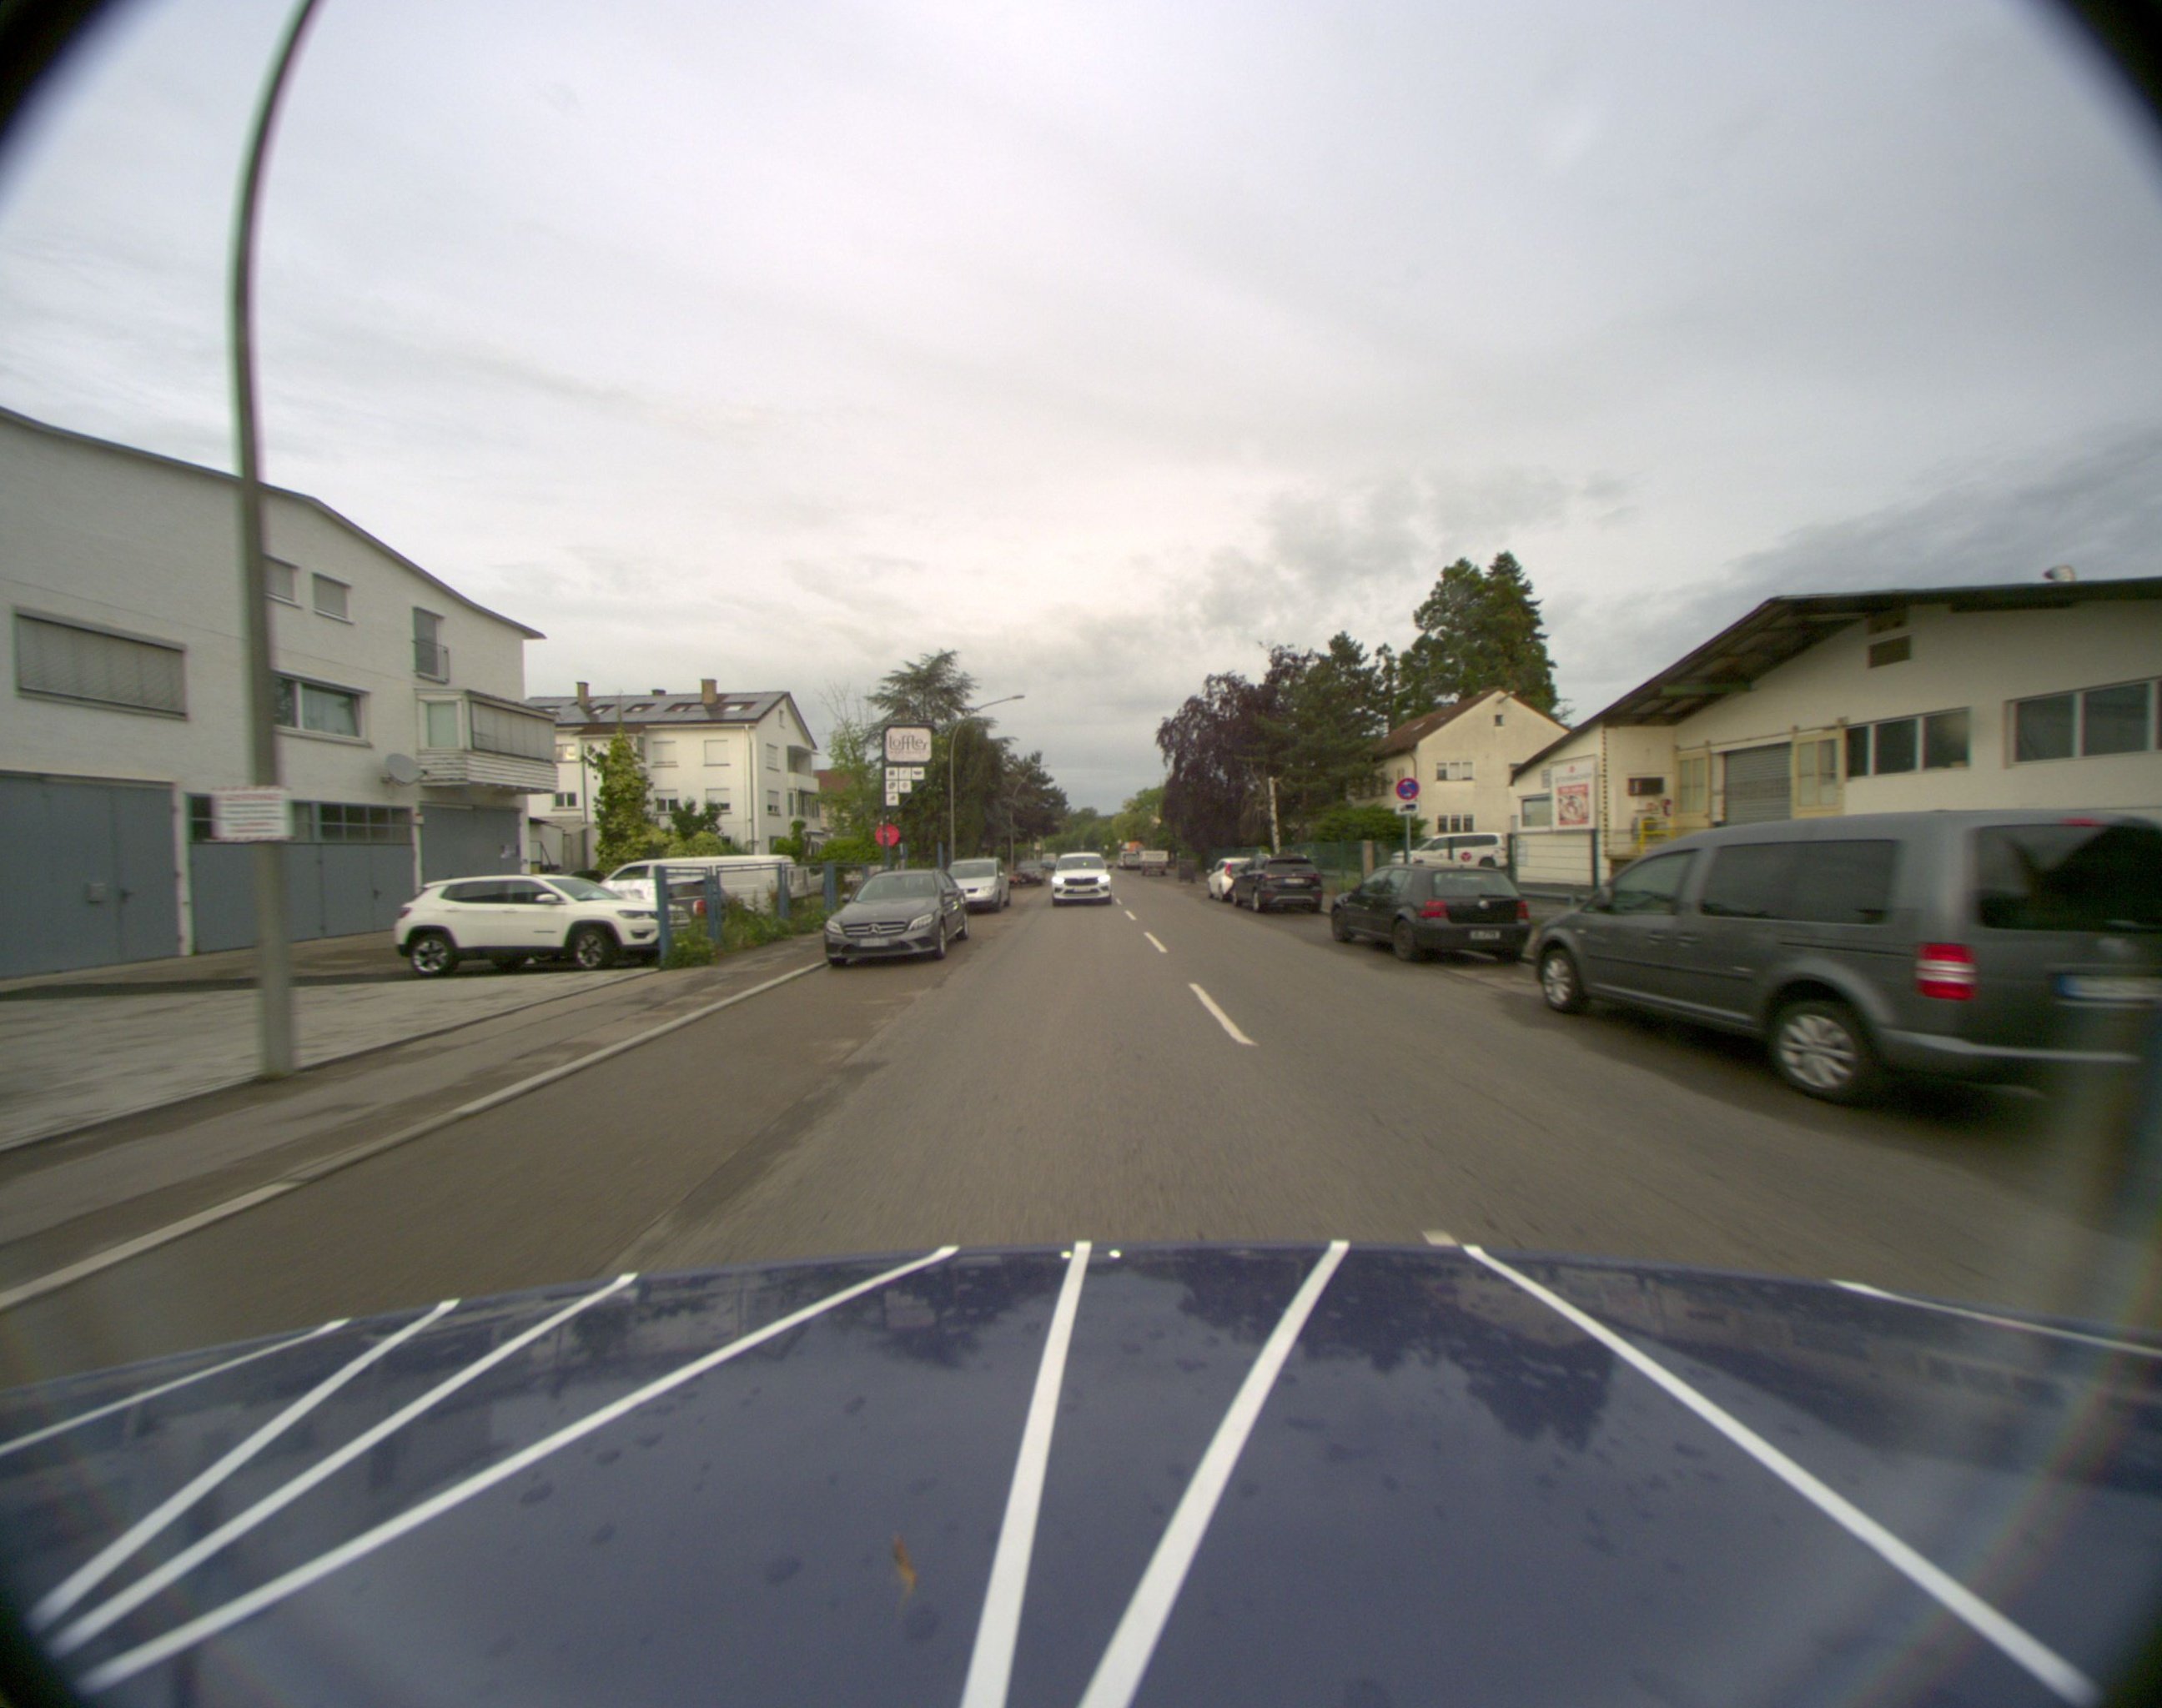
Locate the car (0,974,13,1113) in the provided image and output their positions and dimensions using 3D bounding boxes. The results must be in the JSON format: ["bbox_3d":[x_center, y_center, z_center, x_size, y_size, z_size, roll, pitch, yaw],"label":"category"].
[{"bbox_3d":[-10.234,1.312,4.810,4.254,1.527,1.811,-3,1,0],"label":"car"}]

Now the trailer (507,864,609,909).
[{"bbox_3d":[-24.425,1.457,35.717,1.999,1.802,4.401,-3,1,-6],"label":"trailer"}]

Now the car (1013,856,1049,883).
[{"bbox_3d":[-3.084,0.962,47.860,1.744,1.424,4.648,-4,1,2],"label":"car"}]

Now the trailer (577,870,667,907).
[{"bbox_3d":[-21.588,1.583,35.919,1.644,1.456,4.094,-3,1,0],"label":"trailer"}]

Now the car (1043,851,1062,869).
[{"bbox_3d":[-3.217,0.607,85.758,1.736,1.817,5.552,-4,1,1],"label":"car"}]

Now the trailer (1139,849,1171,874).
[{"bbox_3d":[5.661,0.540,58.478,1.934,1.755,4.547,-2,0,0],"label":"trailer"}]

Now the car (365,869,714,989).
[{"bbox_3d":[-8.959,1.197,12.898,4.457,1.615,1.893,-3,1,-1],"label":"car"}]

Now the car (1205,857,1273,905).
[{"bbox_3d":[5.436,0.887,26.525,1.620,1.500,3.660,0,1,0],"label":"car"}]

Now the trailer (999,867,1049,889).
[{"bbox_3d":[-2.994,1.245,41.425,2.179,0.892,6.635,-3,0,0],"label":"trailer"}]

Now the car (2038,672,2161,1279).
[{"bbox_3d":[5.384,0.515,0.154,2.163,2.413,6.459,1,0,0],"label":"car"}]

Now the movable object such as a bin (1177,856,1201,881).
[{"bbox_3d":[6.118,0.821,43.156,1.103,1.303,1.425,-3,1,0],"label":"movable object such as a bin"}]

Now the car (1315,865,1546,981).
[{"bbox_3d":[5.378,0.963,12.394,1.666,1.440,4.316,0,1,-2],"label":"car"}]

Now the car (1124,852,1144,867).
[{"bbox_3d":[5.489,0.563,79.124,1.821,1.419,4.980,0,1,0],"label":"car"}]

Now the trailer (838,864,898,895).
[{"bbox_3d":[-10.333,1.198,37.159,1.619,1.268,3.892,-2,1,3],"label":"trailer"}]

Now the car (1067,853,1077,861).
[{"bbox_3d":[-1.823,0.570,150.938,1.743,1.458,4.544,-3,1,-1],"label":"car"}]

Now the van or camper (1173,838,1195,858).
[{"bbox_3d":[13.491,-0.811,99.844,1.999,2.476,5.196,-3,1,-1],"label":"van or camper"}]

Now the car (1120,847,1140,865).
[{"bbox_3d":[5.413,0.196,84.557,1.898,1.881,5.209,0,1,0],"label":"car"}]

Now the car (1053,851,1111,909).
[{"bbox_3d":[-0.047,0.789,25.151,1.692,1.651,3.999,-3,1,-2],"label":"car"}]

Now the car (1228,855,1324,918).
[{"bbox_3d":[5.447,0.845,21.707,1.665,1.575,3.915,0,1,-1],"label":"car"}]

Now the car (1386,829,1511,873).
[{"bbox_3d":[17.726,-0.159,36.823,5.010,1.846,2.000,-3,1,2],"label":"car"}]

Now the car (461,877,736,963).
[{"bbox_3d":[-9.668,1.292,15.489,4.331,1.371,1.850,-3,1,-1],"label":"car"}]

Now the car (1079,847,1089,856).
[{"bbox_3d":[0.562,-0.509,147.955,1.898,1.678,4.230,0,1,0],"label":"car"}]

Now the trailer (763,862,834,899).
[{"bbox_3d":[-13.461,1.229,36.557,1.773,1.511,4.803,-1,1,-2],"label":"trailer"}]

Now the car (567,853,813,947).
[{"bbox_3d":[-9.180,1.042,18.165,4.743,1.875,2.000,-3,1,0],"label":"car"}]

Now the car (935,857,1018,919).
[{"bbox_3d":[-3.119,0.966,23.562,1.743,1.612,4.373,-3,1,2],"label":"car"}]

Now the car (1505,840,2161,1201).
[{"bbox_3d":[5.469,0.812,5.951,1.774,1.758,4.445,2,1,0],"label":"car"}]

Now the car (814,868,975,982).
[{"bbox_3d":[-3.062,1.083,13.466,1.743,1.458,4.544,-3,1,-1],"label":"car"}]
